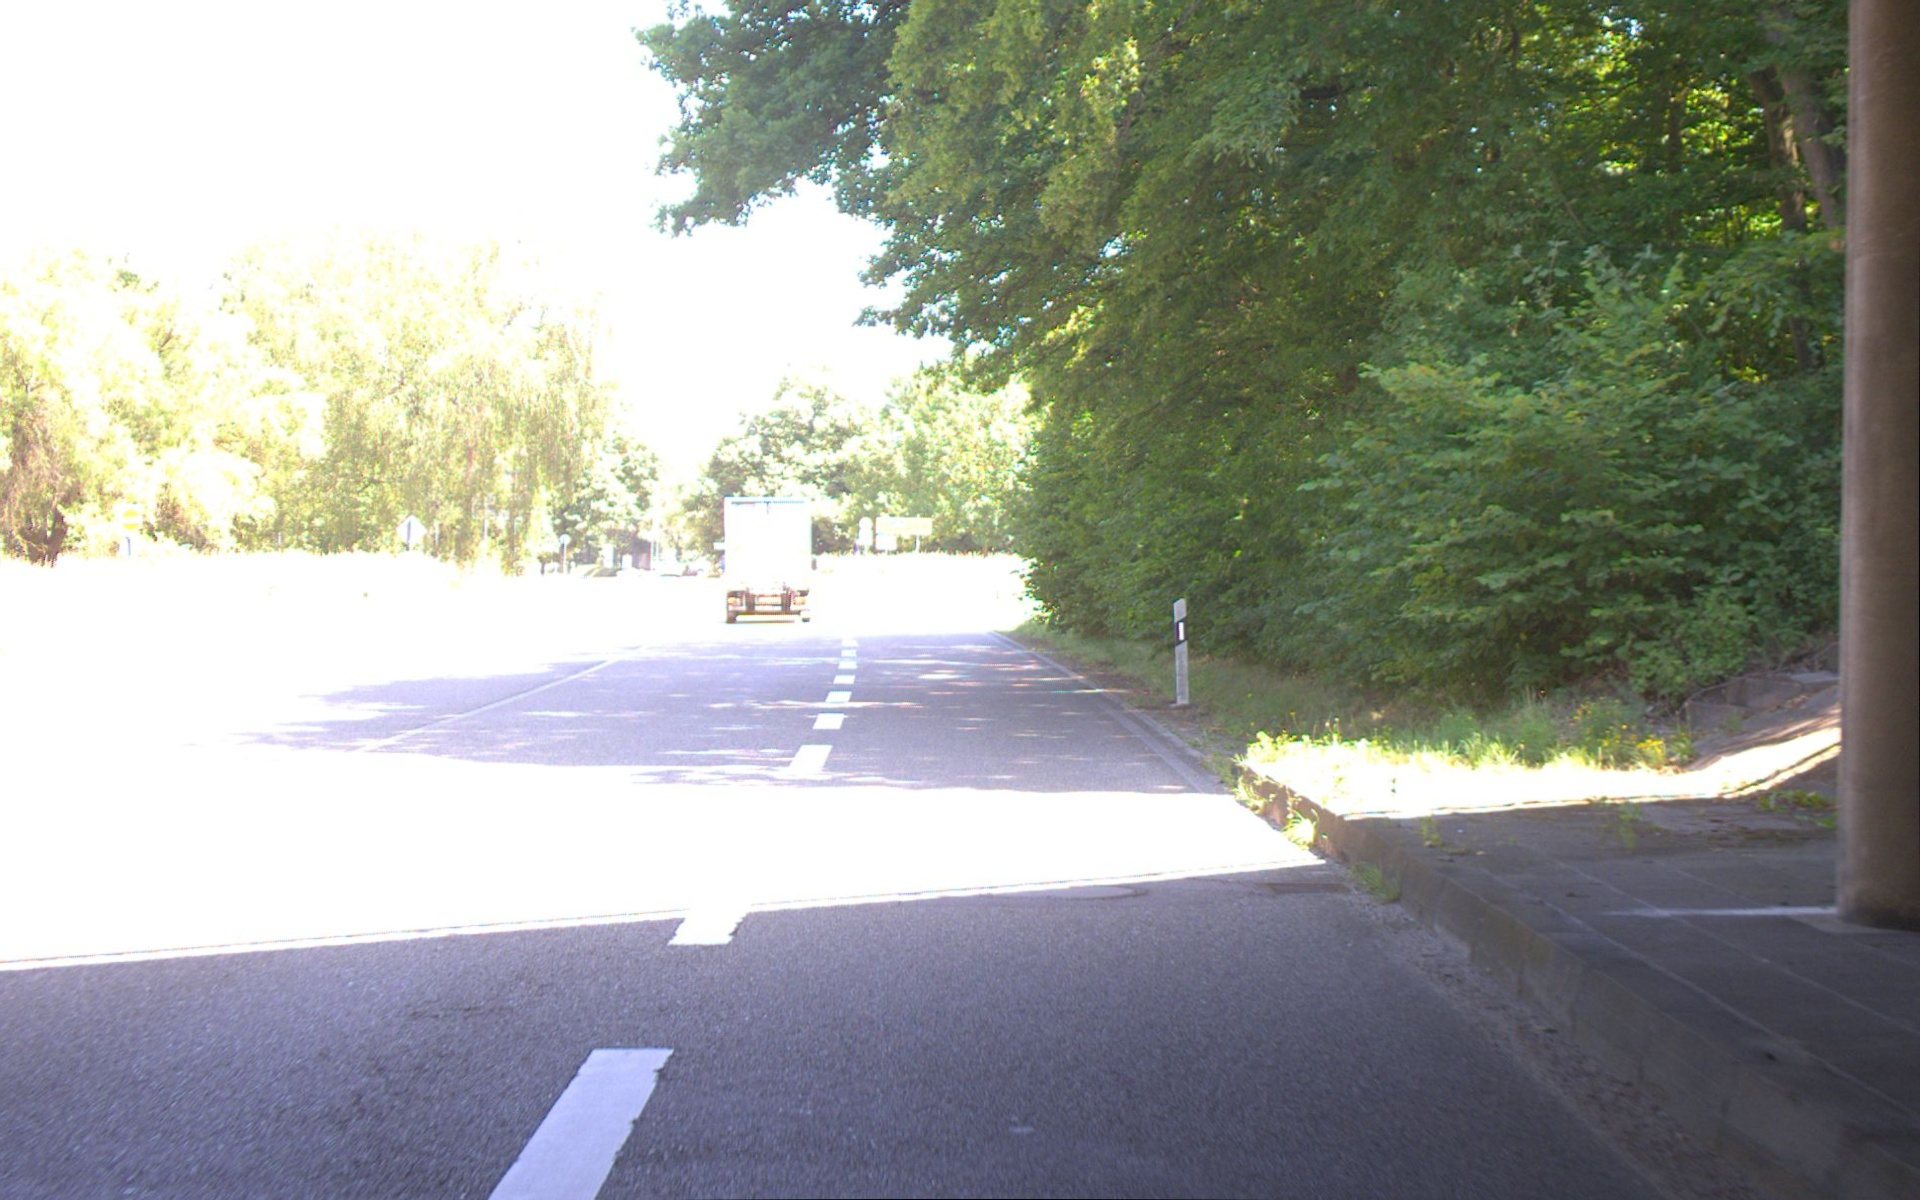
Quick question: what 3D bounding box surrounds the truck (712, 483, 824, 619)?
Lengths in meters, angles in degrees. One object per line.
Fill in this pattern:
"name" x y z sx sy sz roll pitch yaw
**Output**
"truck" -4.567 -1.204 82.447 2.533 3.124 5.362 -1 2 -2
